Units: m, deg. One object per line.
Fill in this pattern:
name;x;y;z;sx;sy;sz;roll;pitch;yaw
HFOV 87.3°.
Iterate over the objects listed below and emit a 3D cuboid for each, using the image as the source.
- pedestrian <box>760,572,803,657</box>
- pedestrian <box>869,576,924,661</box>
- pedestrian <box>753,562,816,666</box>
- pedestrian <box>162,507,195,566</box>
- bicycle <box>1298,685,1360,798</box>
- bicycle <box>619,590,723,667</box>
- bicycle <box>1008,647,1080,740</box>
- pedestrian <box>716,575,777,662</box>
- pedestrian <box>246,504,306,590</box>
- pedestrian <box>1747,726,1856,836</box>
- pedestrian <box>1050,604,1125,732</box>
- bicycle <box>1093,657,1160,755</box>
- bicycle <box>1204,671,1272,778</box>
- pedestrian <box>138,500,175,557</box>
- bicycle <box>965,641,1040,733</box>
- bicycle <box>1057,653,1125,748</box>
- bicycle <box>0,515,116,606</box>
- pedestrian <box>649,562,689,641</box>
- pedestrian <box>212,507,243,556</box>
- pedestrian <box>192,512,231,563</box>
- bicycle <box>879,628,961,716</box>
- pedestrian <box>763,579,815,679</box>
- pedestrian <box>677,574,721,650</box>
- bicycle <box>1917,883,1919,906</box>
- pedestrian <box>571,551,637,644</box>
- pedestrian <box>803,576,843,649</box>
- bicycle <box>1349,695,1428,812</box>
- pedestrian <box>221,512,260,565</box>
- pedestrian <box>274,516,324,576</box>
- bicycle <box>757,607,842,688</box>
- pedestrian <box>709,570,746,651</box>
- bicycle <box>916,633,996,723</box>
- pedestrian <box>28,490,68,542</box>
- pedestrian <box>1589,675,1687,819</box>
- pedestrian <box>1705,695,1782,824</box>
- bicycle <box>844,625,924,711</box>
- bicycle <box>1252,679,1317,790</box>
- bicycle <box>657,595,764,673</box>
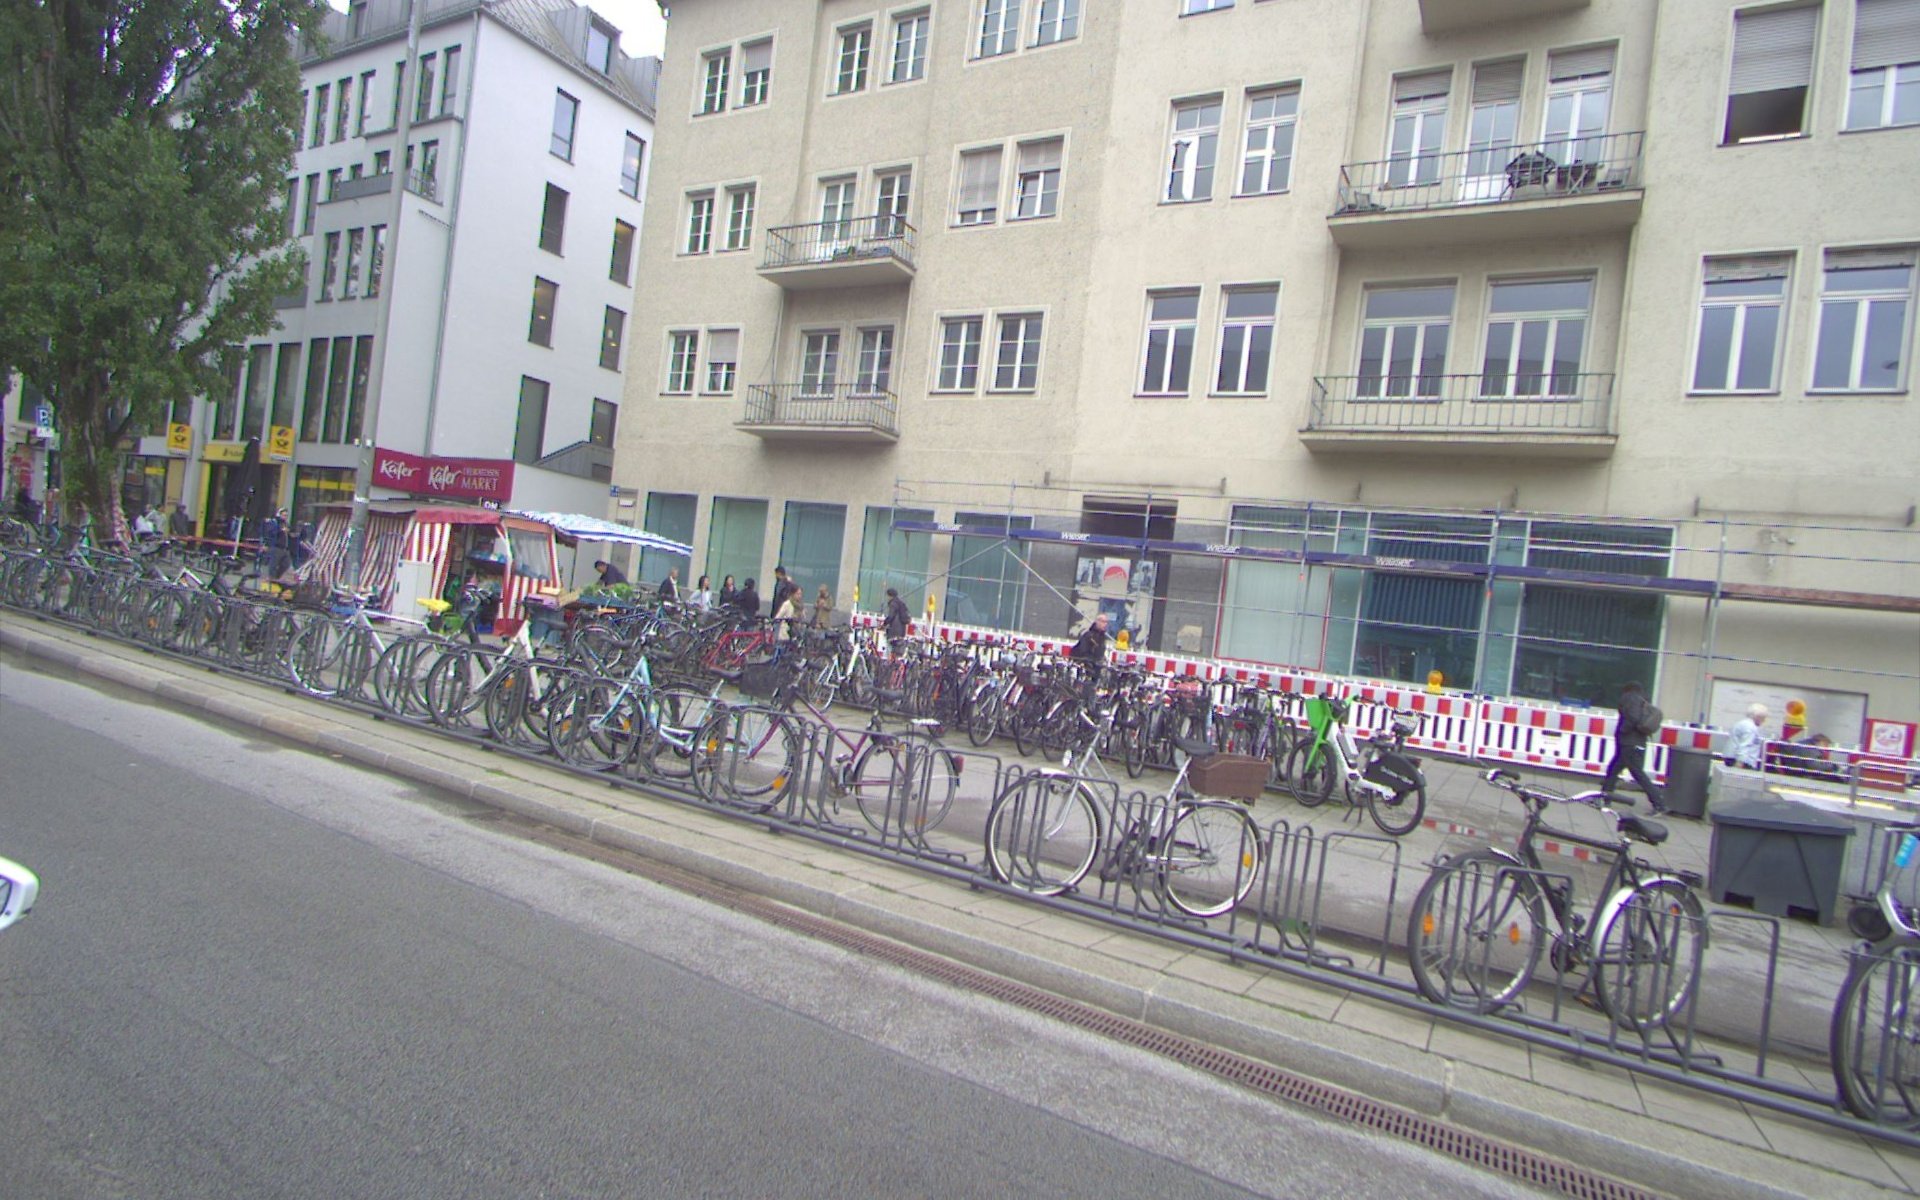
pedestrian;-3.509;0.273;19.761;0.546;1.585;0.650;6;1;-22
pedestrian;-1.322;0.394;21.024;0.752;1.671;0.601;7;1;30
pedestrian;-3.287;0.274;18.902;0.716;1.851;0.718;7;1;16
pedestrian;-23.907;-1.945;30.773;0.588;1.723;0.579;7;2;39
bicycle;4.122;1.534;11.192;0.403;1.091;1.451;7;1;26
bicycle;-4.546;0.470;15.937;0.403;1.117;1.630;7;1;32
bicycle;1.101;1.171;12.971;0.403;1.091;1.452;7;1;22
pedestrian;-4.041;0.354;19.066;0.717;1.547;0.677;7;1;32
pedestrian;-15.459;-1.183;22.736;0.563;1.816;0.793;6;-1;37
pedestrian;11.237;2.401;13.476;0.903;1.261;0.700;6;0;30
pedestrian;1.828;0.967;14.531;0.693;1.730;0.738;7;1;-10
bicycle;2.093;1.284;12.519;0.403;1.091;1.452;7;1;22
bicycle;3.235;1.400;11.647;0.403;1.091;1.451;7;1;26
pedestrian;-23.991;-2.127;30.023;0.625;1.603;0.641;7;1;39
bicycle;0.577;1.110;13.159;0.403;1.091;1.452;7;1;22
bicycle;1.680;1.240;12.771;0.403;1.091;1.452;7;1;22
bicycle;-13.230;-0.584;14.381;1.556;1.065;0.544;11;-2;-21
pedestrian;-6.520;0.046;22.545;0.495;1.694;0.541;7;-1;4
pedestrian;-26.534;-2.478;36.444;0.688;1.669;0.788;6;1;-43
pedestrian;-23.530;-1.948;31.629;0.640;1.493;0.756;7;-1;-21
bicycle;-0.520;0.960;13.709;0.403;1.091;1.535;7;1;23
pedestrian;-2.869;0.486;16.951;0.526;1.602;0.662;7;1;7
pedestrian;-5.593;0.263;21.558;0.458;1.558;0.560;6;-1;31
bicycle;7.843;1.917;7.390;0.618;1.242;2.364;7;0;33
pedestrian;-6.993;-0.040;19.789;0.717;1.694;0.794;7;1;30
pedestrian;-3.208;0.304;23.539;0.598;1.623;0.465;7;1;28
bicycle;4.653;1.618;10.881;0.403;1.091;1.647;7;1;33
pedestrian;-23.709;-2.020;33.150;0.760;1.605;0.691;7;1;31
pedestrian;-20.096;-1.629;30.584;1.006;1.657;0.800;7;1;31
bicycle;-2.404;0.708;15.206;0.402;1.117;1.633;7;1;21
pedestrian;-5.090;0.242;22.048;0.463;1.692;0.527;7;-1;6
bicycle;-0.029;1.012;13.388;0.403;1.091;1.535;7;1;23
pedestrian;-32.731;-3.016;36.113;0.711;1.746;0.736;6;1;-22
pedestrian;8.516;1.822;12.660;0.821;1.652;0.563;7;1;34
pedestrian;10.174;2.048;13.079;0.580;1.560;0.565;6;0;29
bicycle;-1.039;0.930;14.012;0.403;1.091;1.452;7;1;22
bicycle;3.691;1.486;11.398;0.403;1.091;1.451;7;1;26
bicycle;-3.893;0.550;15.819;0.404;1.117;1.627;7;1;39
